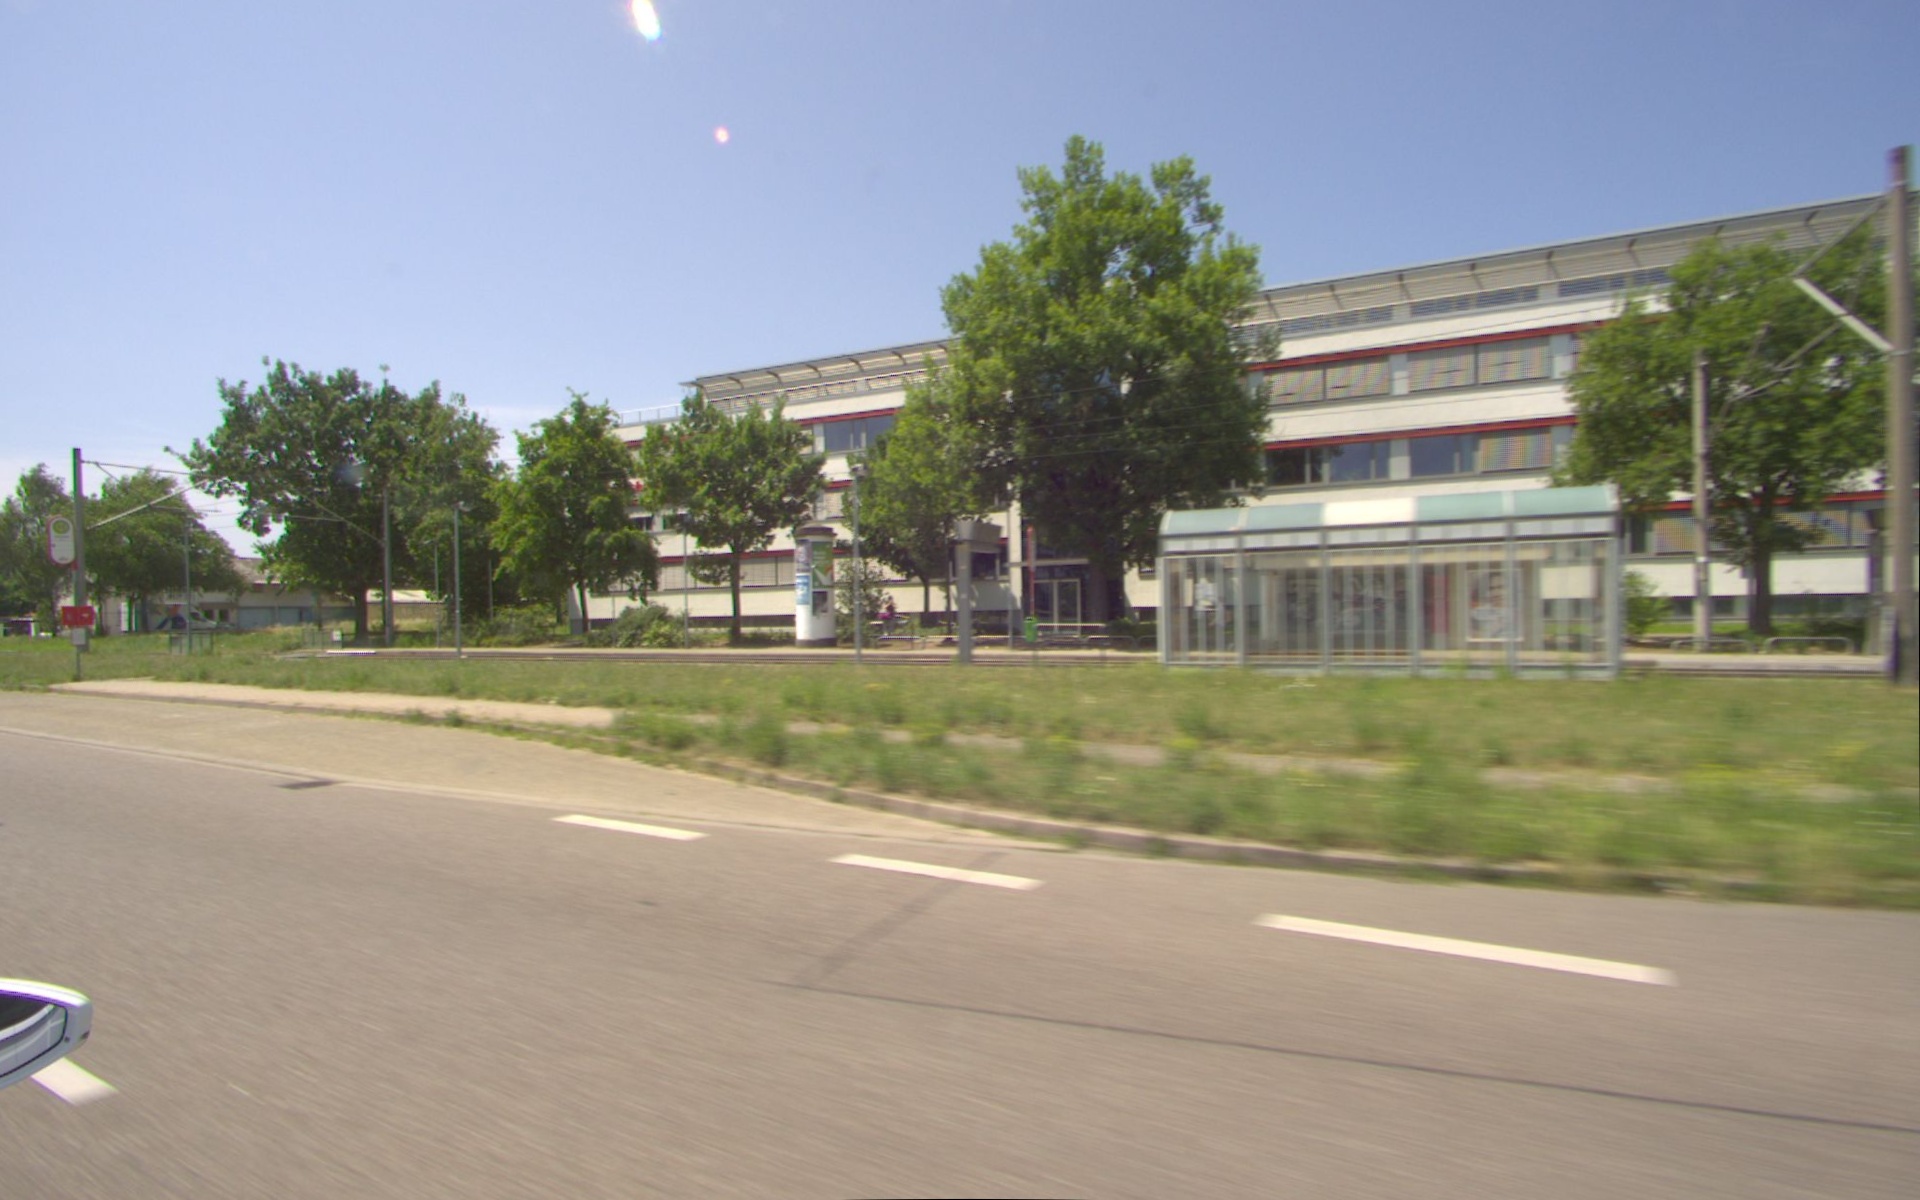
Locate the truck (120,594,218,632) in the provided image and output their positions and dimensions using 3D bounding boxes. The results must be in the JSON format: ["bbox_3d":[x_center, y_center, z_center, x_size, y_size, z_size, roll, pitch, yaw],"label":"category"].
[{"bbox_3d":[-64.714,0.996,82.097,2.282,2.881,5.839,-1,1,25],"label":"truck"}]

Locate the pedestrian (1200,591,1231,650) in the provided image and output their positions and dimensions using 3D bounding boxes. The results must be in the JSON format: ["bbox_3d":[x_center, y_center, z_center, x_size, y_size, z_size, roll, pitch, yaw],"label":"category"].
[{"bbox_3d":[7.195,0.596,28.221,0.681,1.628,0.551,-1,-2,33],"label":"pedestrian"}]

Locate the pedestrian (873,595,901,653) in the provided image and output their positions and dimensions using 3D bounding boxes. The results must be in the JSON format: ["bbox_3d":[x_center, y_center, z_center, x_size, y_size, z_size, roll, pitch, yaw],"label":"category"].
[{"bbox_3d":[-2.390,0.789,32.808,0.699,1.865,0.695,-1,-1,17],"label":"pedestrian"}]
